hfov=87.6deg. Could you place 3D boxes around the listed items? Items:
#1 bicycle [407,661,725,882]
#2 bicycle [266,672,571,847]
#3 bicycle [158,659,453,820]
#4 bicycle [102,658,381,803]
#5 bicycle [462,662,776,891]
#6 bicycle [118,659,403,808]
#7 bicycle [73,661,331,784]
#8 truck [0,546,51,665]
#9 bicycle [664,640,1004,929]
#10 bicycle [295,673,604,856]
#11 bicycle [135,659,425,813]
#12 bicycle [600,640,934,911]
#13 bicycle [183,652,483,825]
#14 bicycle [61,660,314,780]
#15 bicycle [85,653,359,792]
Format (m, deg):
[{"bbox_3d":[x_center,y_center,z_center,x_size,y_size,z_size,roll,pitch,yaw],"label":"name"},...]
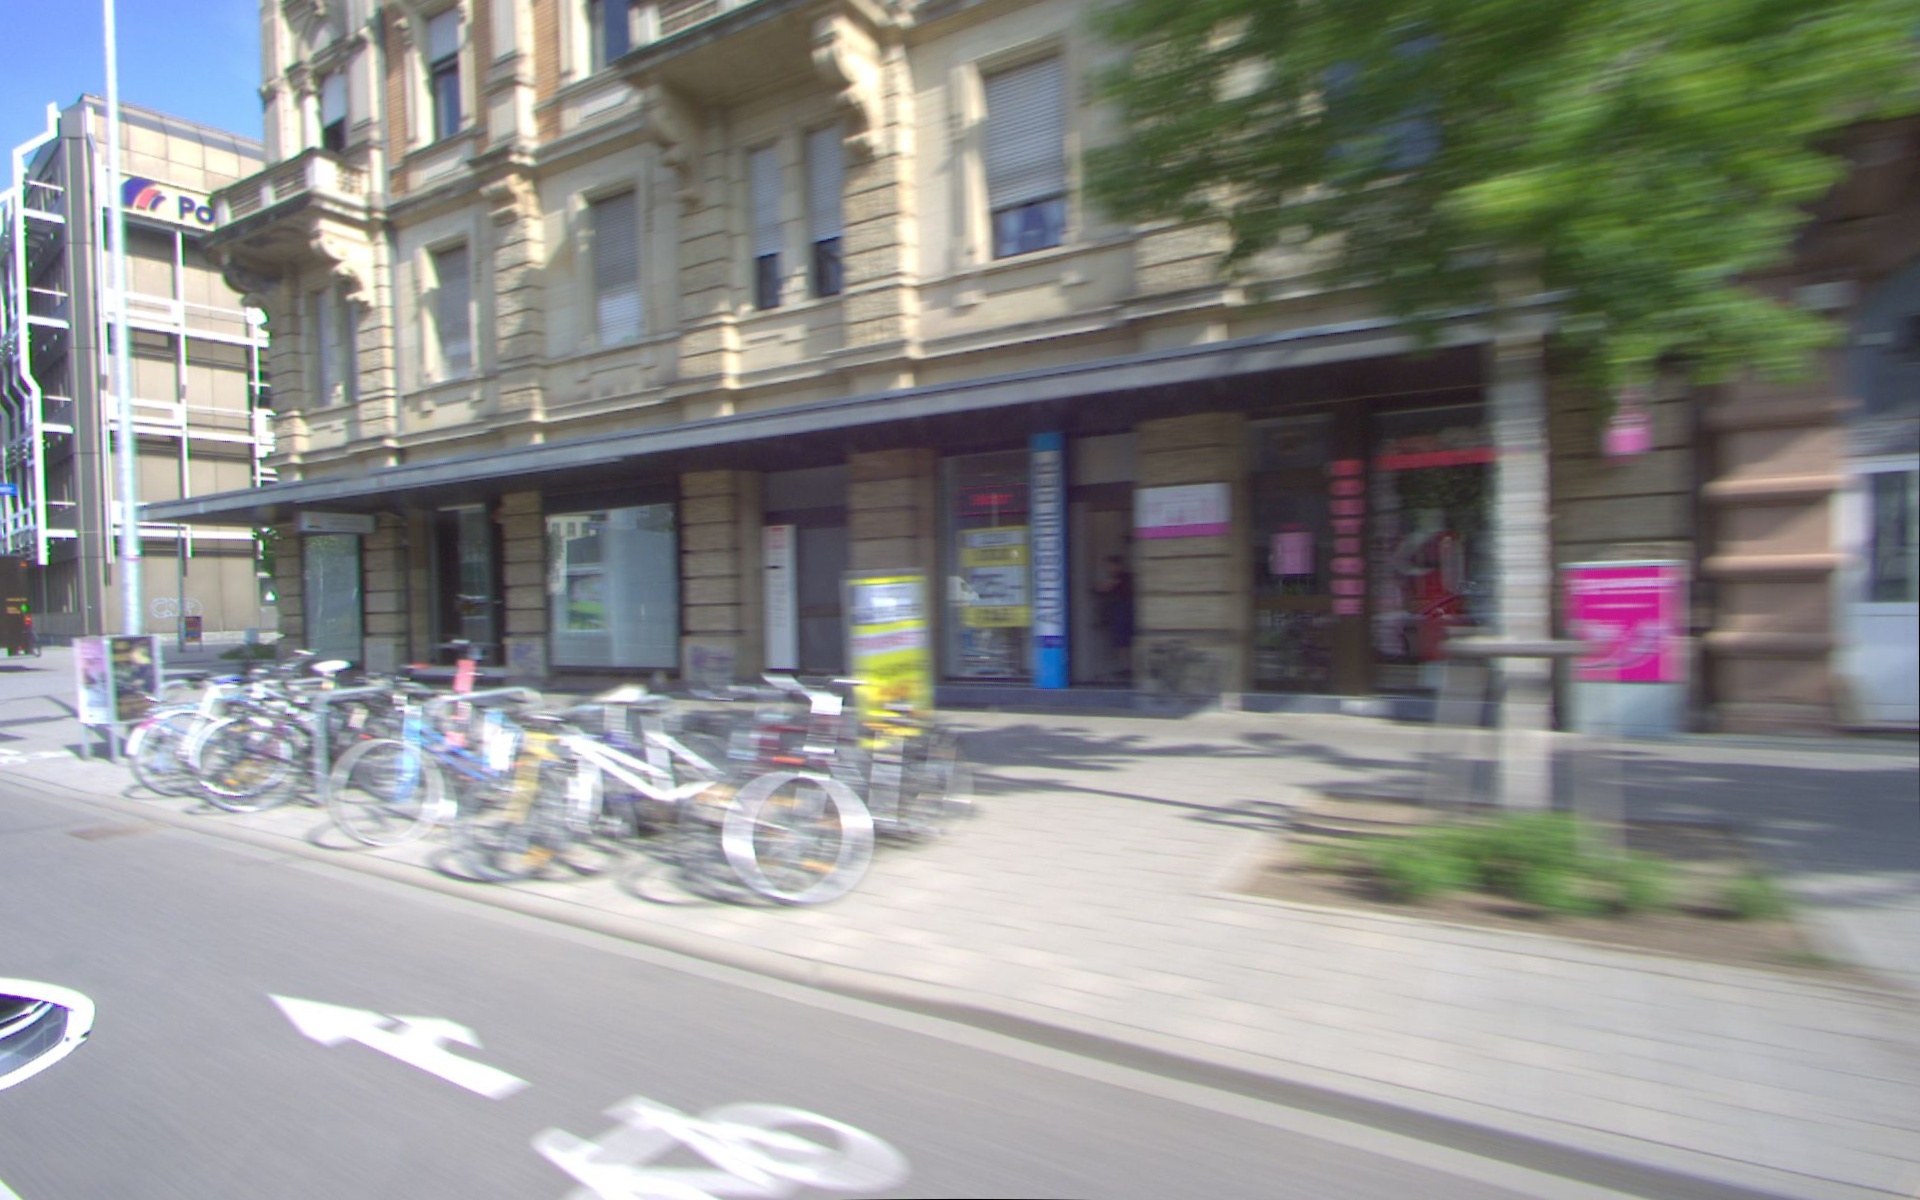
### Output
[{"bbox_3d":[-2.380,0.985,6.343,0.464,1.000,1.950,0,2,31],"label":"bicycle"},{"bbox_3d":[-3.771,1.064,7.173,0.434,0.886,1.930,0,2,31],"label":"bicycle"},{"bbox_3d":[-5.154,1.049,8.040,0.434,0.959,1.928,0,3,34],"label":"bicycle"},{"bbox_3d":[-6.210,1.081,8.792,0.423,0.959,1.928,0,3,34],"label":"bicycle"},{"bbox_3d":[-1.967,0.972,6.111,0.464,1.000,1.930,0,2,31],"label":"bicycle"},{"bbox_3d":[-5.858,1.069,8.530,0.423,0.959,1.928,0,3,34],"label":"bicycle"},{"bbox_3d":[-7.096,1.106,9.491,0.423,0.875,1.880,0,3,34],"label":"bicycle"},{"bbox_3d":[-27.953,0.170,26.102,6.826,3.052,2.517,-1,1,9],"label":"truck"},{"bbox_3d":[-0.560,0.870,5.567,0.580,1.119,2.233,0,2,31],"label":"bicycle"},{"bbox_3d":[-3.414,1.053,6.918,0.434,0.886,1.930,0,2,31],"label":"bicycle"},{"bbox_3d":[-5.544,1.060,8.309,0.434,0.959,1.928,0,3,34],"label":"bicycle"},{"bbox_3d":[-0.989,0.882,5.850,0.511,1.119,2.233,0,2,31],"label":"bicycle"},{"bbox_3d":[-4.782,1.002,7.803,0.434,1.027,1.928,0,3,34],"label":"bicycle"},{"bbox_3d":[-7.442,1.118,9.761,0.423,0.875,1.880,0,3,34],"label":"bicycle"},{"bbox_3d":[-6.583,1.047,9.061,0.423,0.959,1.928,0,3,34],"label":"bicycle"}]
